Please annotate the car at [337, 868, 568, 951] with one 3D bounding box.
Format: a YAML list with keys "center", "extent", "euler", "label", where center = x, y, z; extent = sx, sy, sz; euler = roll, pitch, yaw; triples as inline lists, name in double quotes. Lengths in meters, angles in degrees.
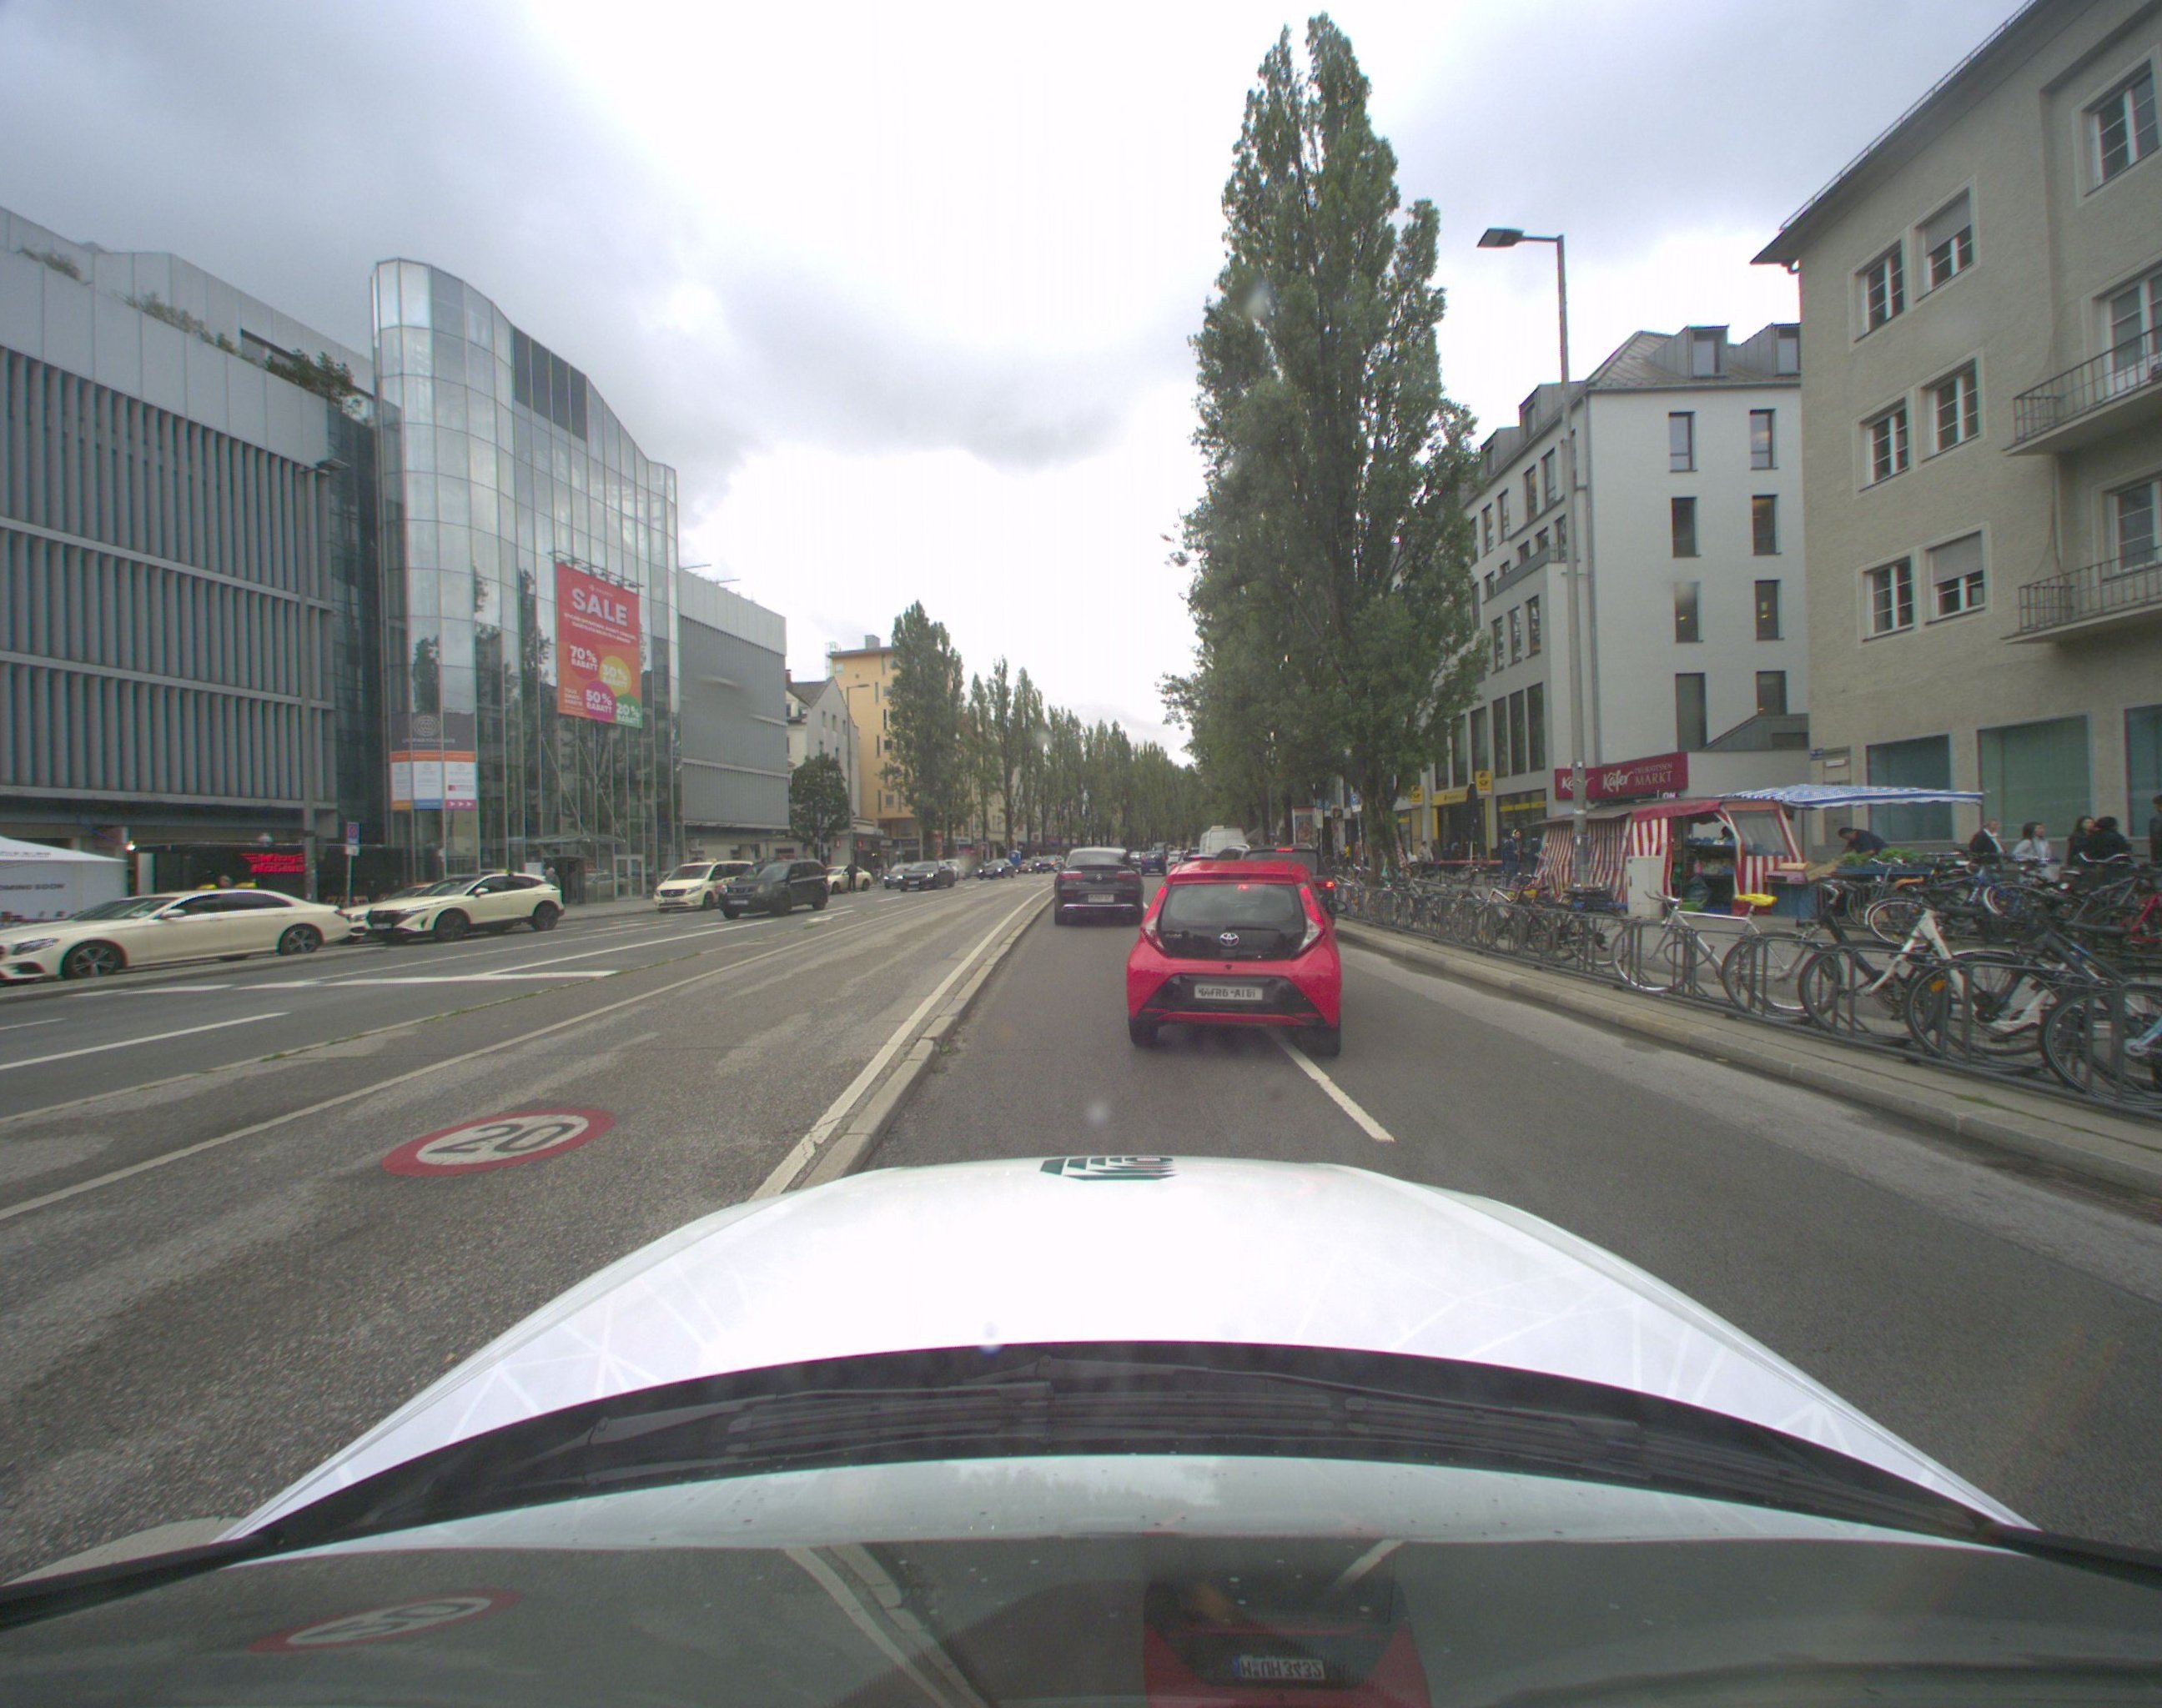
- center: [-15.720, 1.310, 20.728]
  extent: [1.873, 1.698, 4.397]
  euler: [-3, 0, 12]
  label: "car"

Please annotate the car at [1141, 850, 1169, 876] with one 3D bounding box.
- center: [4.881, 0.606, 53.777]
  extent: [1.751, 1.619, 3.751]
  euler: [0, -1, 4]
  label: "car"

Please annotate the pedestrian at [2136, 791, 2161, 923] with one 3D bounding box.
- center: [15.296, 0.032, 11.187]
  extent: [0.716, 1.829, 0.726]
  euler: [-2, 0, -14]
  label: "pedestrian"

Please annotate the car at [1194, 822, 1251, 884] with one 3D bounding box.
- center: [6.653, -0.035, 38.841]
  extent: [1.985, 2.741, 5.558]
  euler: [0, -1, 3]
  label: "car"

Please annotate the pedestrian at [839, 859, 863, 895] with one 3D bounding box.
- center: [-12.137, 1.196, 42.920]
  extent: [0.778, 1.867, 0.852]
  euler: [-2, 0, 31]
  label: "pedestrian"

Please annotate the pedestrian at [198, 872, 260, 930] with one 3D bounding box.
- center: [-23.699, 1.293, 22.656]
  extent: [0.726, 1.545, 0.902]
  euler: [-2, 0, 14]
  label: "pedestrian"

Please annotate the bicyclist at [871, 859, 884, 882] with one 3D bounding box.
- center: [-14.249, 1.134, 56.998]
  extent: [0.499, 1.592, 0.838]
  euler: [-2, 0, 14]
  label: "bicyclist"

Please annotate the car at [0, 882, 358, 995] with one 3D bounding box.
- center: [-16.866, 1.421, 15.176]
  extent: [1.934, 1.540, 4.862]
  euler: [-2, 0, 10]
  label: "car"

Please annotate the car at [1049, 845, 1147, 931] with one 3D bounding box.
- center: [0.411, 0.669, 18.333]
  extent: [1.873, 1.642, 4.585]
  euler: [-2, 0, 2]
  label: "car"

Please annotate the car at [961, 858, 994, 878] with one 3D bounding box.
- center: [-8.292, 1.085, 65.760]
  extent: [1.721, 1.409, 4.693]
  euler: [-2, 0, 4]
  label: "car"

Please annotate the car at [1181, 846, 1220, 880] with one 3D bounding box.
- center: [6.609, 0.482, 45.586]
  extent: [1.919, 1.805, 4.787]
  euler: [0, 0, 6]
  label: "car"

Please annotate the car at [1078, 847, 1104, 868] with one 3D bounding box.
- center: [1.395, 0.440, 109.920]
  extent: [2.155, 2.605, 6.085]
  euler: [-2, 0, 13]
  label: "car"

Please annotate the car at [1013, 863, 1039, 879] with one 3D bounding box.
- center: [-5.399, 1.655, 80.745]
  extent: [1.774, 1.466, 4.007]
  euler: [-3, 0, 6]
  label: "car"

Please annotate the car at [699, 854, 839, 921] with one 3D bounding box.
- center: [-9.394, 0.952, 25.008]
  extent: [1.983, 1.777, 4.608]
  euler: [-2, 0, 7]
  label: "car"

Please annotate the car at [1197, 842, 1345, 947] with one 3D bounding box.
- center: [3.253, 0.632, 14.777]
  extent: [1.755, 1.613, 4.184]
  euler: [-1, 0, 1]
  label: "car"

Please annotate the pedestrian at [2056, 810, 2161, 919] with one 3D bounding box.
- center: [15.065, 0.151, 11.916]
  extent: [0.674, 1.528, 0.730]
  euler: [-2, 0, 2]
  label: "pedestrian"

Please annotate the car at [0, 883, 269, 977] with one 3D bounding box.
- center: [-19.708, 1.462, 16.704]
  extent: [1.742, 1.536, 4.010]
  euler: [-2, 0, 9]
  label: "car"

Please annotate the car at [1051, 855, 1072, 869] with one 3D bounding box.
- center: [-2.309, 0.923, 96.355]
  extent: [1.944, 1.589, 4.006]
  euler: [-2, 0, 5]
  label: "car"

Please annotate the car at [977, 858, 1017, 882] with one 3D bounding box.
- center: [-5.895, 1.083, 57.663]
  extent: [1.826, 1.487, 4.742]
  euler: [-2, 0, 6]
  label: "car"

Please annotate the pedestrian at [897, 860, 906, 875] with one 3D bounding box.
- center: [-17.527, 1.336, 79.373]
  extent: [0.630, 1.434, 0.778]
  euler: [-2, 0, 0]
  label: "pedestrian"

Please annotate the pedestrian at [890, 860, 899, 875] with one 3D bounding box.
- center: [-18.144, 1.341, 79.354]
  extent: [0.630, 1.434, 0.778]
  euler: [-2, 0, 0]
  label: "pedestrian"

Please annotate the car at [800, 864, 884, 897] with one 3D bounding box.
- center: [-12.869, 1.378, 44.224]
  extent: [1.842, 1.469, 5.004]
  euler: [-4, 0, 17]
  label: "car"

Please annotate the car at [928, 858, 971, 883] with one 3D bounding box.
- center: [-9.314, 1.129, 58.022]
  extent: [1.985, 1.600, 4.294]
  euler: [-2, 0, 4]
  label: "car"

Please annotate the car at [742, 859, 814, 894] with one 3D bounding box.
- center: [-19.515, 1.423, 52.805]
  extent: [1.981, 2.013, 5.126]
  euler: [-2, 0, 10]
  label: "car"

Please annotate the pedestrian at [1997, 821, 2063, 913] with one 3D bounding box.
- center: [16.305, 0.220, 13.999]
  extent: [0.557, 1.540, 0.466]
  euler: [0, -1, 1]
  label: "pedestrian"

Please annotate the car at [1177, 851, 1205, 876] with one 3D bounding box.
- center: [7.672, 0.633, 56.966]
  extent: [1.719, 1.686, 4.414]
  euler: [-1, 0, 5]
  label: "car"

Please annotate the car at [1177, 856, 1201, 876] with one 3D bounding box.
- center: [9.808, 1.057, 73.630]
  extent: [1.913, 1.700, 4.662]
  euler: [-1, -1, 10]
  label: "car"

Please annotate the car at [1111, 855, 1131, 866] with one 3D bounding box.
- center: [5.575, 0.871, 113.036]
  extent: [1.786, 1.394, 4.708]
  euler: [-2, 0, 13]
  label: "car"

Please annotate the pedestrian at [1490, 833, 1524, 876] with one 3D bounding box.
- center: [17.027, 0.014, 32.559]
  extent: [0.797, 1.637, 1.023]
  euler: [-2, 0, 1]
  label: "pedestrian"

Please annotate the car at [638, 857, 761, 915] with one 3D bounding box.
- center: [-14.897, 1.180, 32.256]
  extent: [1.985, 2.013, 5.327]
  euler: [-3, 0, 4]
  label: "car"

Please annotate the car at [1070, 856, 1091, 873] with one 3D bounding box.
- center: [-0.066, 1.117, 87.508]
  extent: [1.809, 1.545, 4.005]
  euler: [-4, 0, 4]
  label: "car"

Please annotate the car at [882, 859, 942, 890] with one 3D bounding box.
- center: [-9.828, 1.166, 47.830]
  extent: [1.949, 1.546, 4.956]
  euler: [-3, 0, 6]
  label: "car"

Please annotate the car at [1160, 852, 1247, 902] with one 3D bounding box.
- center: [3.879, 0.680, 25.443]
  extent: [1.530, 1.460, 3.455]
  euler: [-1, -1, 29]
  label: "car"

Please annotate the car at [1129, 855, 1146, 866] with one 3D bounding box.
- center: [8.633, 0.979, 123.834]
  extent: [1.896, 1.603, 4.370]
  euler: [-2, 0, 12]
  label: "car"

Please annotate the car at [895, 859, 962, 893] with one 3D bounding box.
- center: [-7.693, 1.073, 41.573]
  extent: [1.984, 1.507, 5.030]
  euler: [-2, 0, 6]
  label: "car"

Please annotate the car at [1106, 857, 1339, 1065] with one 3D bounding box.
- center: [1.489, 0.765, 7.626]
  extent: [1.652, 1.446, 3.611]
  euler: [-1, -1, 16]
  label: "car"

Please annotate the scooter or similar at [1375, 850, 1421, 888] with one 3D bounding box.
- center: [10.738, 0.493, 27.566]
  extent: [1.468, 1.207, 0.398]
  euler: [-2, 0, -18]
  label: "scooter or similar"

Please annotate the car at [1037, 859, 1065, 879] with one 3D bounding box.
- center: [-2.651, 1.327, 73.370]
  extent: [1.984, 1.621, 4.418]
  euler: [-3, 0, 4]
  label: "car"

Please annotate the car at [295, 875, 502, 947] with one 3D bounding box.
- center: [-18.243, 1.462, 22.041]
  extent: [1.760, 1.616, 4.012]
  euler: [-2, 0, 10]
  label: "car"
